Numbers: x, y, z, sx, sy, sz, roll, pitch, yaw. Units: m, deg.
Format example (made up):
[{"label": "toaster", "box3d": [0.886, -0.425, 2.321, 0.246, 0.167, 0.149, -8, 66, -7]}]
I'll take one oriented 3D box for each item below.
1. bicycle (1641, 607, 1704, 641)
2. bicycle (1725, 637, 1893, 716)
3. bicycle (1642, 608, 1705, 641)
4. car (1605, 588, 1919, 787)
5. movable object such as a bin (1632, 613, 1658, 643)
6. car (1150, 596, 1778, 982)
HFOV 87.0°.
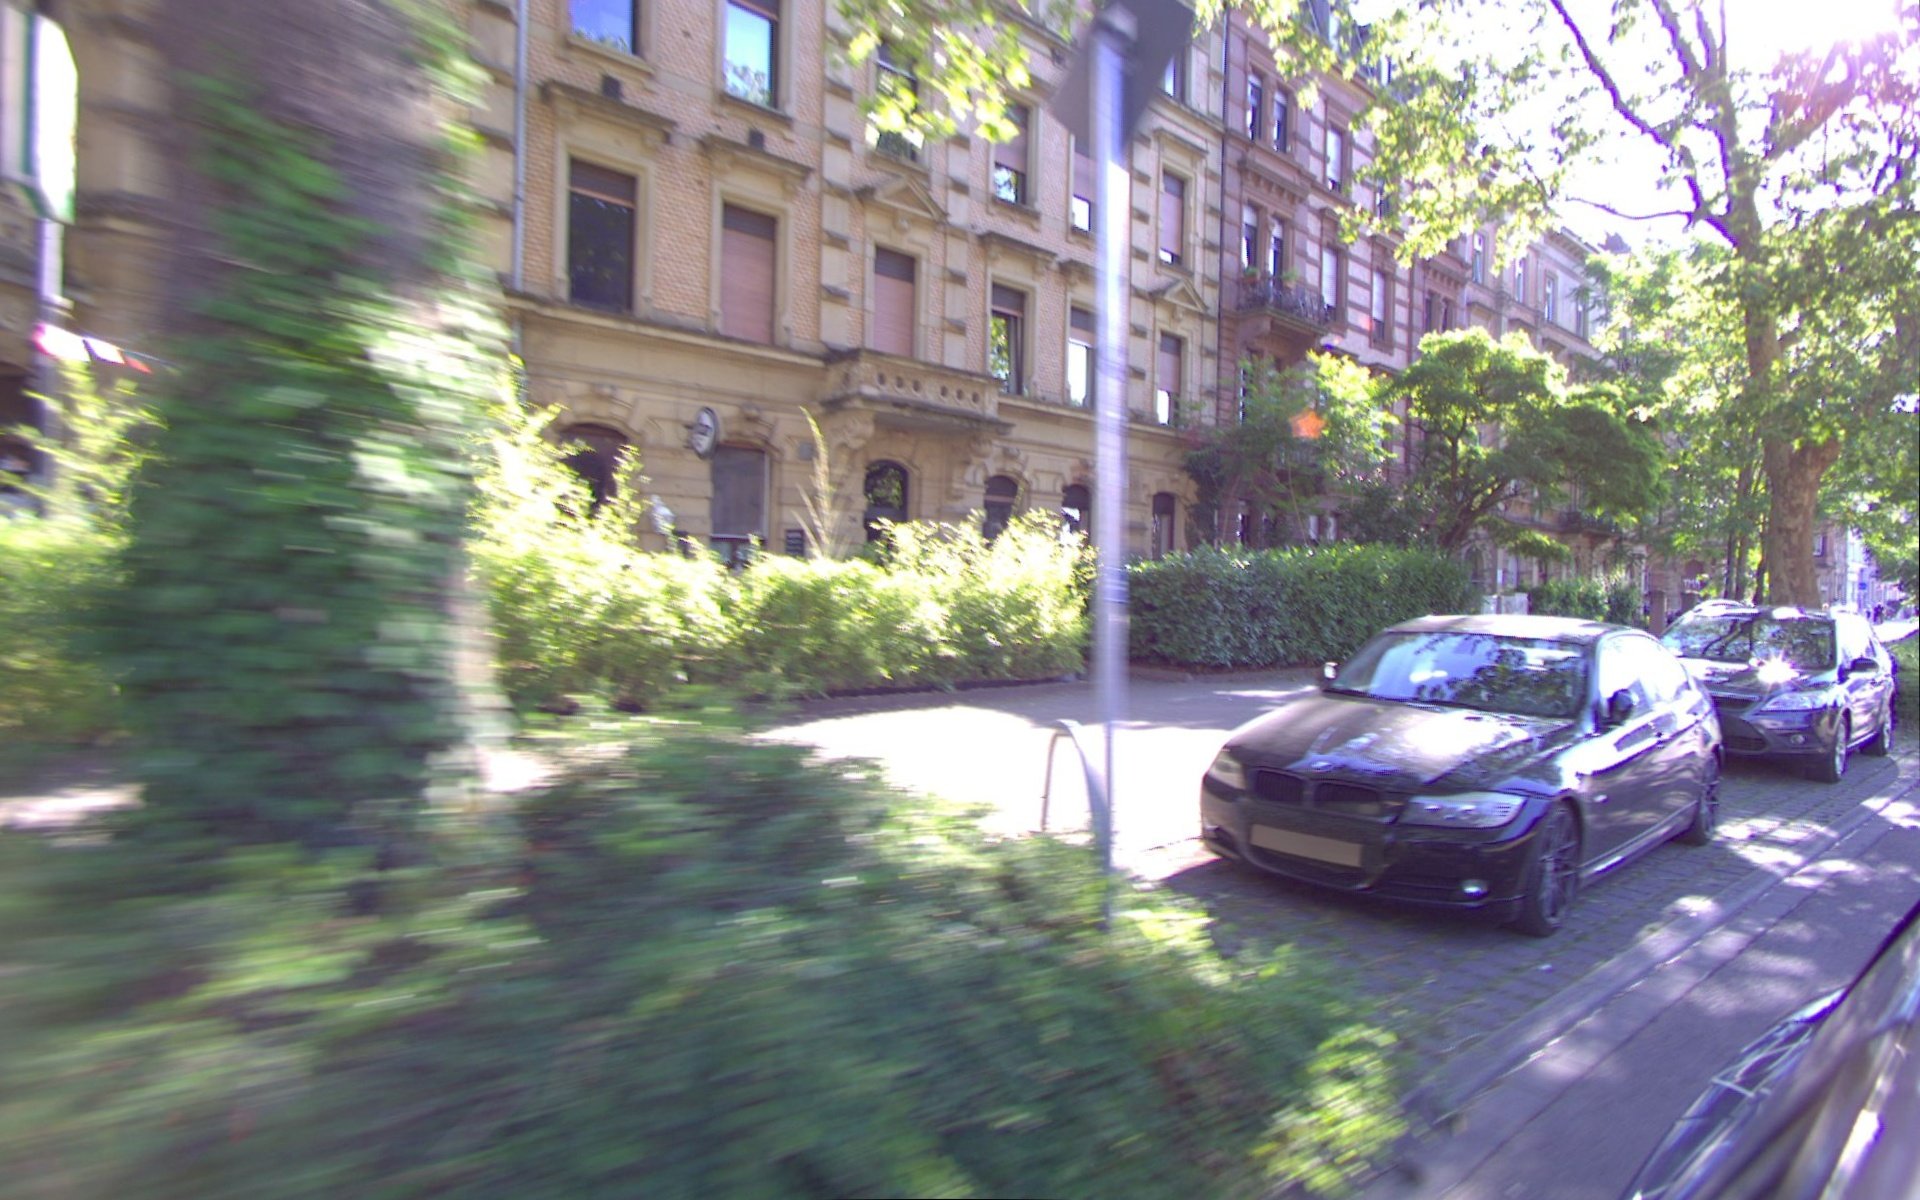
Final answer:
[{"label": "bicycle", "box3d": [23.906, 0.814, 33.974, 1.726, 1.109, 0.490, -1, -2, 37]}, {"label": "bicycle", "box3d": [10.994, 0.972, 13.156, 1.617, 0.974, 0.335, -1, -2, 23]}, {"label": "bicycle", "box3d": [24.511, 0.825, 34.777, 1.726, 1.109, 0.490, -1, -2, 37]}, {"label": "car", "box3d": [8.310, 0.709, 10.221, 4.639, 1.535, 1.680, 1, 2, -40]}, {"label": "movable object such as a bin", "box3d": [20.861, 0.846, 30.816, 0.600, 0.910, 0.708, -1, -2, 38]}, {"label": "car", "box3d": [3.231, 0.739, 5.981, 4.489, 1.411, 1.679, 1, 2, -41]}]
